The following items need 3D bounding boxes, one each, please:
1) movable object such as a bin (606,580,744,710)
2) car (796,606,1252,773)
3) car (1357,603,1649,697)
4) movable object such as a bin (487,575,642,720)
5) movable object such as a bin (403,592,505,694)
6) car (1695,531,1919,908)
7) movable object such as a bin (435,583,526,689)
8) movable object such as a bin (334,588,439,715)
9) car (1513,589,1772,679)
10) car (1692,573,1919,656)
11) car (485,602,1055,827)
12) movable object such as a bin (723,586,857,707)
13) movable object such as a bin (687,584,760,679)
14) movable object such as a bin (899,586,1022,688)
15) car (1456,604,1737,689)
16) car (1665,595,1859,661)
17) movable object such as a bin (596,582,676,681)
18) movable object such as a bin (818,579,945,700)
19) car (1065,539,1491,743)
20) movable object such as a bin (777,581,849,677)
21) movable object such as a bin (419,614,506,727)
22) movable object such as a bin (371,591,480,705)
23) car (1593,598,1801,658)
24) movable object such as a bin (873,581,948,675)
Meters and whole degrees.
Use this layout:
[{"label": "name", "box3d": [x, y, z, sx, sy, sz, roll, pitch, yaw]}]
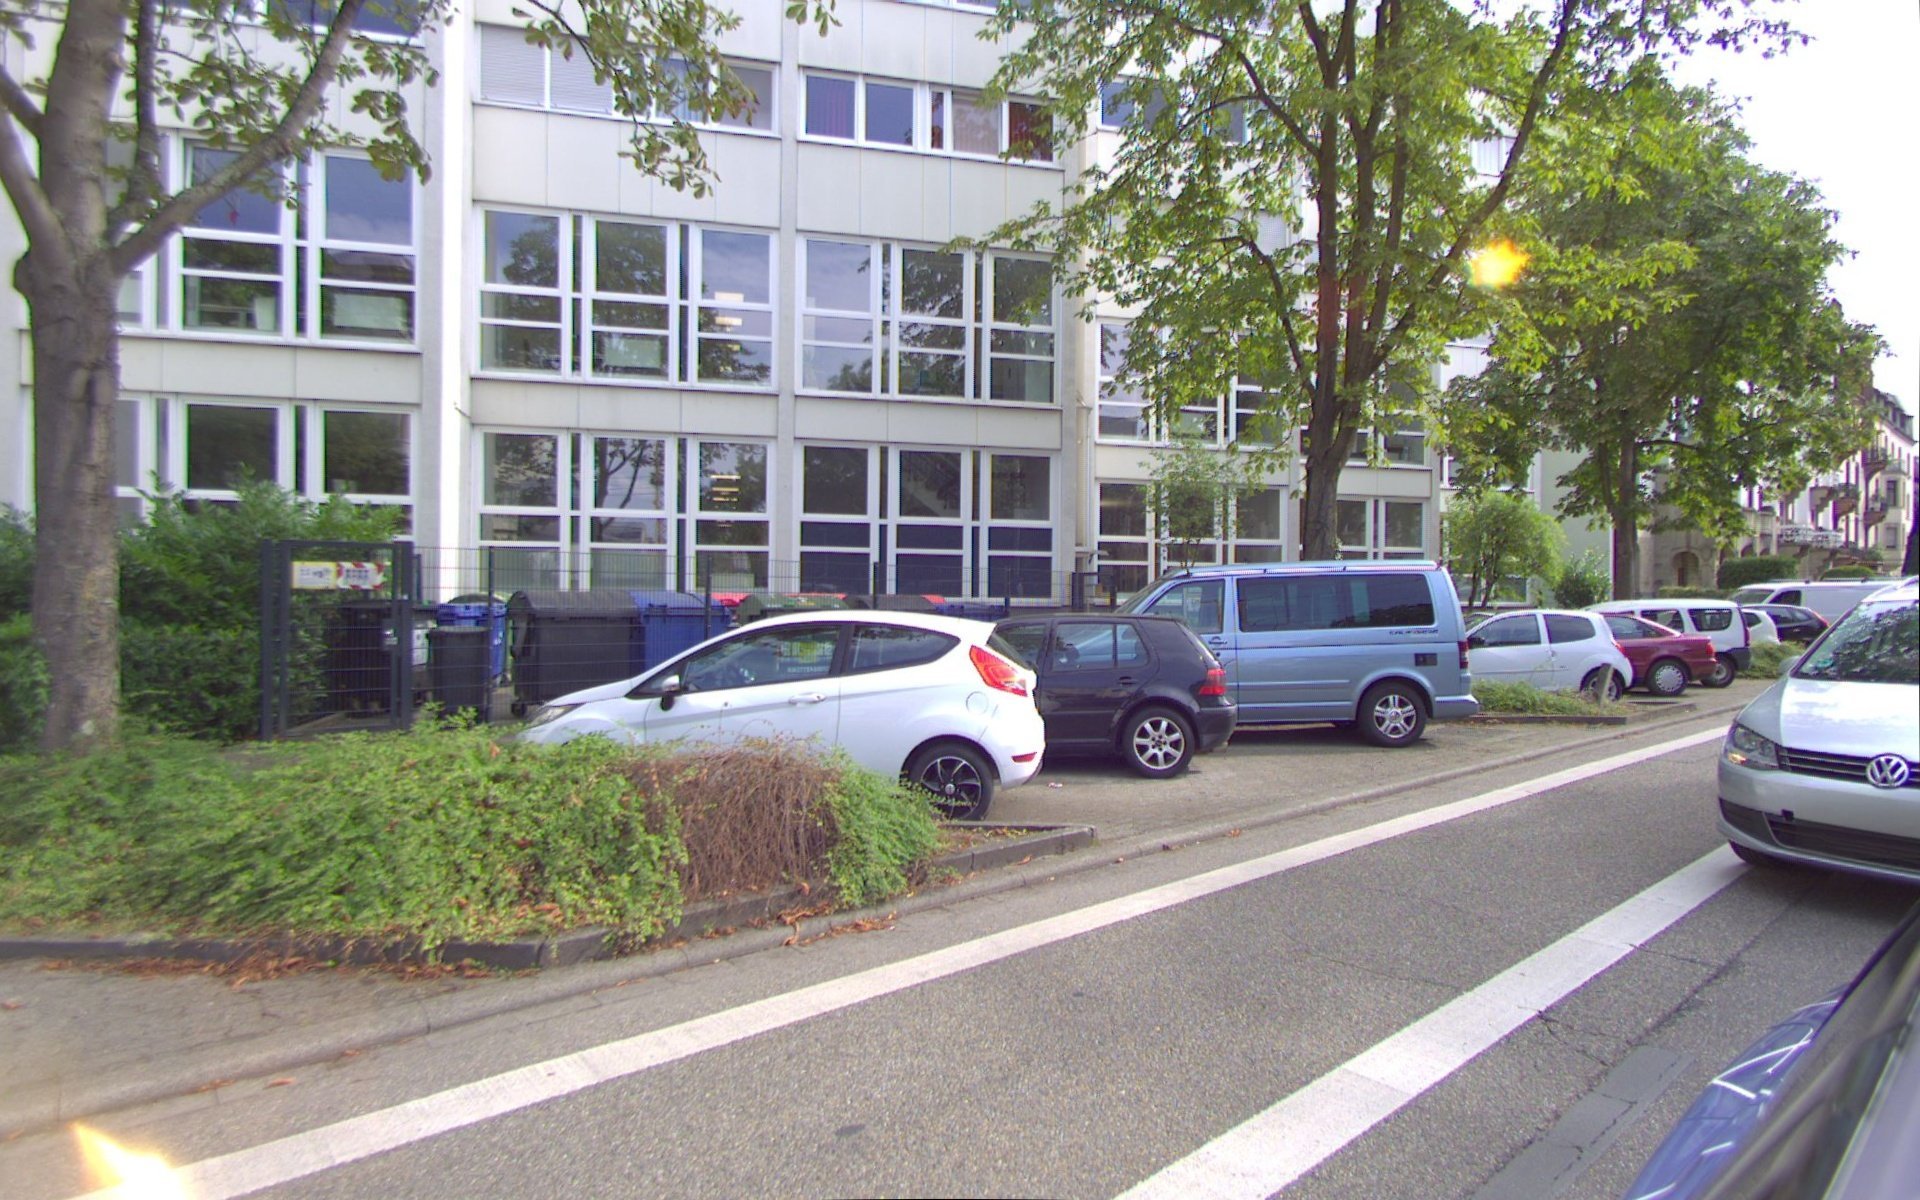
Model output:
[{"label": "movable object such as a bin", "box3d": [-3.614, 0.527, 12.794, 1.312, 1.523, 1.335, 0, 0, -36]}, {"label": "car", "box3d": [0.575, 0.777, 9.613, 3.902, 1.405, 1.812, 0, -1, 5]}, {"label": "car", "box3d": [8.328, 0.730, 15.795, 3.580, 1.347, 1.766, 0, 0, 5]}, {"label": "movable object such as a bin", "box3d": [-4.606, 0.505, 11.769, 1.389, 1.549, 1.330, 0, 0, -36]}, {"label": "movable object such as a bin", "box3d": [-7.219, 0.588, 14.524, 1.155, 1.387, 1.177, 0, 0, -19]}, {"label": "car", "box3d": [6.349, 0.547, 5.741, 4.524, 1.722, 1.820, 0, 0, -30]}, {"label": "movable object such as a bin", "box3d": [-7.491, 0.530, 15.875, 1.155, 1.588, 1.177, 0, 0, -19]}, {"label": "movable object such as a bin", "box3d": [-6.708, 0.571, 11.898, 0.893, 1.425, 1.026, 0, 0, -19]}, {"label": "car", "box3d": [13.087, 0.615, 19.632, 3.708, 1.638, 1.810, 0, 0, 9]}, {"label": "car", "box3d": [24.021, 0.368, 28.289, 5.349, 2.203, 2.143, 0, 0, 9]}, {"label": "car", "box3d": [-1.234, 0.736, 7.438, 3.792, 1.410, 1.632, 0, 0, 4]}, {"label": "movable object such as a bin", "box3d": [-2.306, 0.581, 13.672, 1.328, 1.521, 1.335, 0, 0, -36]}, {"label": "movable object such as a bin", "box3d": [-3.974, 0.512, 17.111, 1.150, 1.533, 1.182, 0, 0, -12]}, {"label": "movable object such as a bin", "box3d": [0.003, 0.534, 15.551, 1.374, 1.477, 1.335, 0, 0, -36]}, {"label": "car", "box3d": [10.967, 0.764, 17.695, 3.708, 1.355, 1.810, 0, 0, 9]}, {"label": "car", "box3d": [20.821, 0.686, 26.460, 3.605, 1.609, 1.753, 0, 1, 24]}, {"label": "movable object such as a bin", "box3d": [-5.408, 0.508, 16.969, 1.150, 1.588, 1.182, 0, 0, -12]}, {"label": "movable object such as a bin", "box3d": [-1.132, 0.528, 14.526, 1.328, 1.616, 1.335, 0, 0, -36]}, {"label": "car", "box3d": [3.385, 0.405, 11.549, 4.268, 2.090, 1.998, 0, 0, 5]}, {"label": "movable object such as a bin", "box3d": [-2.556, 0.484, 17.506, 1.150, 1.588, 1.182, 0, 0, -12]}, {"label": "movable object such as a bin", "box3d": [-5.303, 0.720, 10.783, 0.729, 1.119, 0.786, 0, 0, -34]}, {"label": "movable object such as a bin", "box3d": [-6.942, 0.593, 13.213, 1.095, 1.409, 1.065, 0, 0, -19]}, {"label": "car", "box3d": [17.474, 0.631, 24.128, 3.580, 1.347, 1.766, 0, 0, 5]}, {"label": "movable object such as a bin", "box3d": [-0.886, 0.469, 17.807, 1.150, 1.588, 1.182, 0, 0, -12]}]
